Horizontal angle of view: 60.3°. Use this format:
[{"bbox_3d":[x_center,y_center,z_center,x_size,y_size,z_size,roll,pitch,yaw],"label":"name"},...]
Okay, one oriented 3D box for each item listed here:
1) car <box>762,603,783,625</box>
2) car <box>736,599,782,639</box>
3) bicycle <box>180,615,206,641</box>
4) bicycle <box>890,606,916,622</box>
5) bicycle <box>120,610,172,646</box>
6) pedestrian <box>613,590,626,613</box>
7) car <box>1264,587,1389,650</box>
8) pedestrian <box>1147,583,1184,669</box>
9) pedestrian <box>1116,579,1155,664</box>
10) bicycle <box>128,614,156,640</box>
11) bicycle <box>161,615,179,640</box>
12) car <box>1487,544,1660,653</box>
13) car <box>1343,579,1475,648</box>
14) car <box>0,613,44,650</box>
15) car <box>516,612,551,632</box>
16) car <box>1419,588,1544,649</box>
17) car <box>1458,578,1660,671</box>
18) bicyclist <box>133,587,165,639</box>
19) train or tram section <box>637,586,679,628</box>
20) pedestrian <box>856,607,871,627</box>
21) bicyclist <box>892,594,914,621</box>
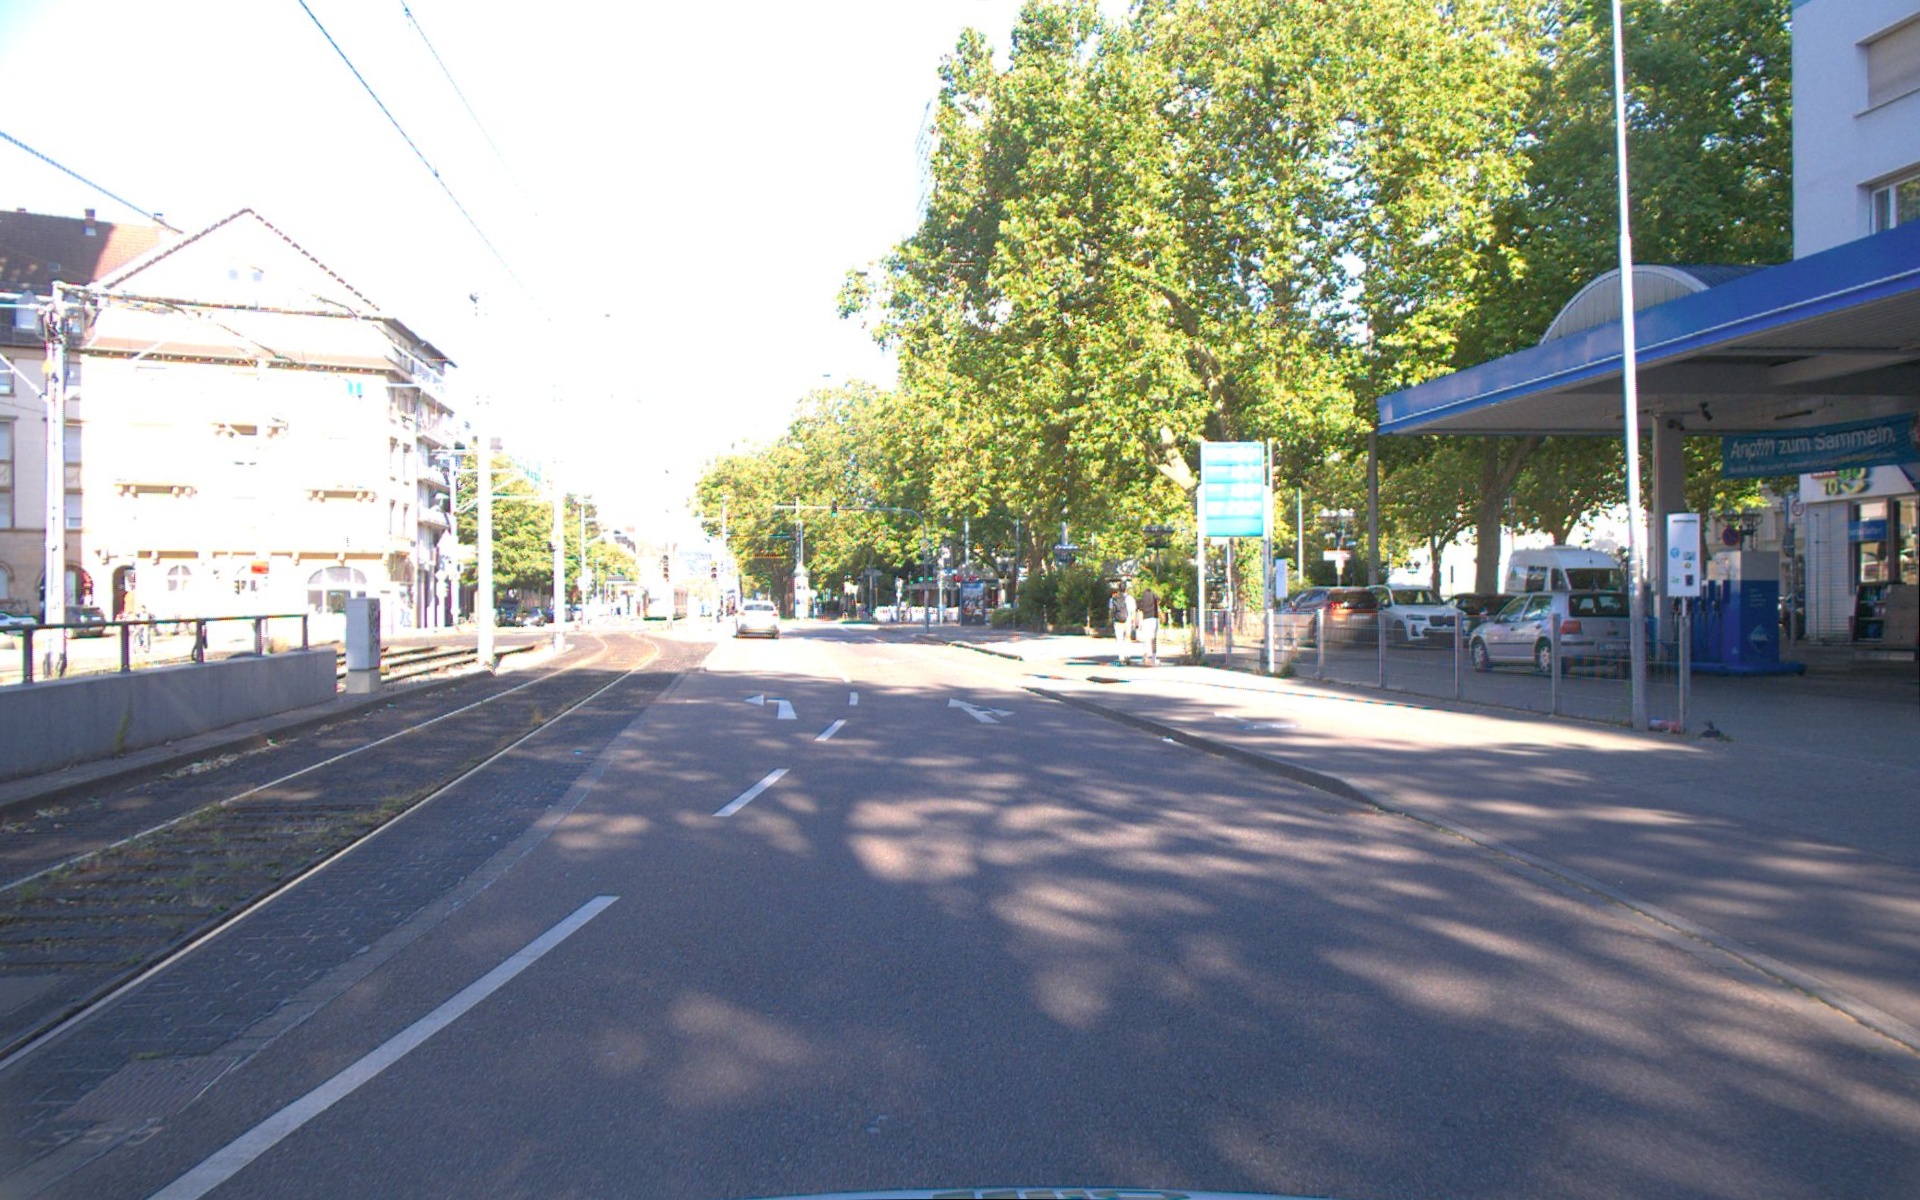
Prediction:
[{"bbox_3d":[-18.128,1.344,159.675,1.955,2.049,3.994,2,0,-7],"label":"car"},{"bbox_3d":[-8.003,0.743,65.789,1.712,1.487,3.637,2,0,-8],"label":"car"},{"bbox_3d":[-41.764,1.512,90.126,0.808,1.305,2.554,2,0,-15],"label":"bicycle"},{"bbox_3d":[-3.703,0.891,107.612,1.178,0.951,2.565,2,0,-14],"label":"bicycle"},{"bbox_3d":[-27.949,0.954,56.832,0.618,1.164,2.279,-2,0,0],"label":"bicycle"},{"bbox_3d":[-29.011,0.135,140.862,0.945,1.865,0.986,2,-1,-13],"label":"pedestrian"},{"bbox_3d":[10.106,0.463,46.000,1.784,1.630,4.651,0,1,-10],"label":"car"},{"bbox_3d":[4.481,0.563,36.081,0.591,1.807,0.689,-4,0,-4],"label":"pedestrian"},{"bbox_3d":[3.822,0.462,36.026,0.591,1.807,0.878,-4,0,-4],"label":"pedestrian"},{"bbox_3d":[-43.815,1.425,88.577,0.815,1.305,2.530,2,-1,-38],"label":"bicycle"},{"bbox_3d":[-42.560,1.475,89.079,0.811,1.305,2.543,2,-1,-26],"label":"bicycle"},{"bbox_3d":[17.351,-0.024,47.153,2.198,2.882,5.788,-1,0,-7],"label":"car"},{"bbox_3d":[12.271,0.316,45.539,1.824,1.765,4.791,0,1,-7],"label":"car"},{"bbox_3d":[-49.486,1.598,85.029,4.495,1.783,1.997,2,-1,27],"label":"car"},{"bbox_3d":[-33.055,1.664,128.258,1.955,1.474,4.833,0,0,-7],"label":"car"},{"bbox_3d":[14.413,0.479,45.966,1.824,1.597,3.994,0,1,-7],"label":"car"},{"bbox_3d":[10.147,0.401,28.343,1.538,1.455,4.091,-1,0,-8],"label":"car"},{"bbox_3d":[-27.964,0.429,57.031,0.618,1.753,0.915,-2,0,-1],"label":"bicyclist"},{"bbox_3d":[-26.833,0.636,147.479,2.896,3.470,10.774,2,0,-7],"label":"train or tram section"},{"bbox_3d":[-6.741,1.186,115.525,0.646,1.412,0.831,2,-1,25],"label":"pedestrian"},{"bbox_3d":[-3.713,0.510,107.707,1.178,1.726,0.901,2,-1,-14],"label":"bicyclist"}]
